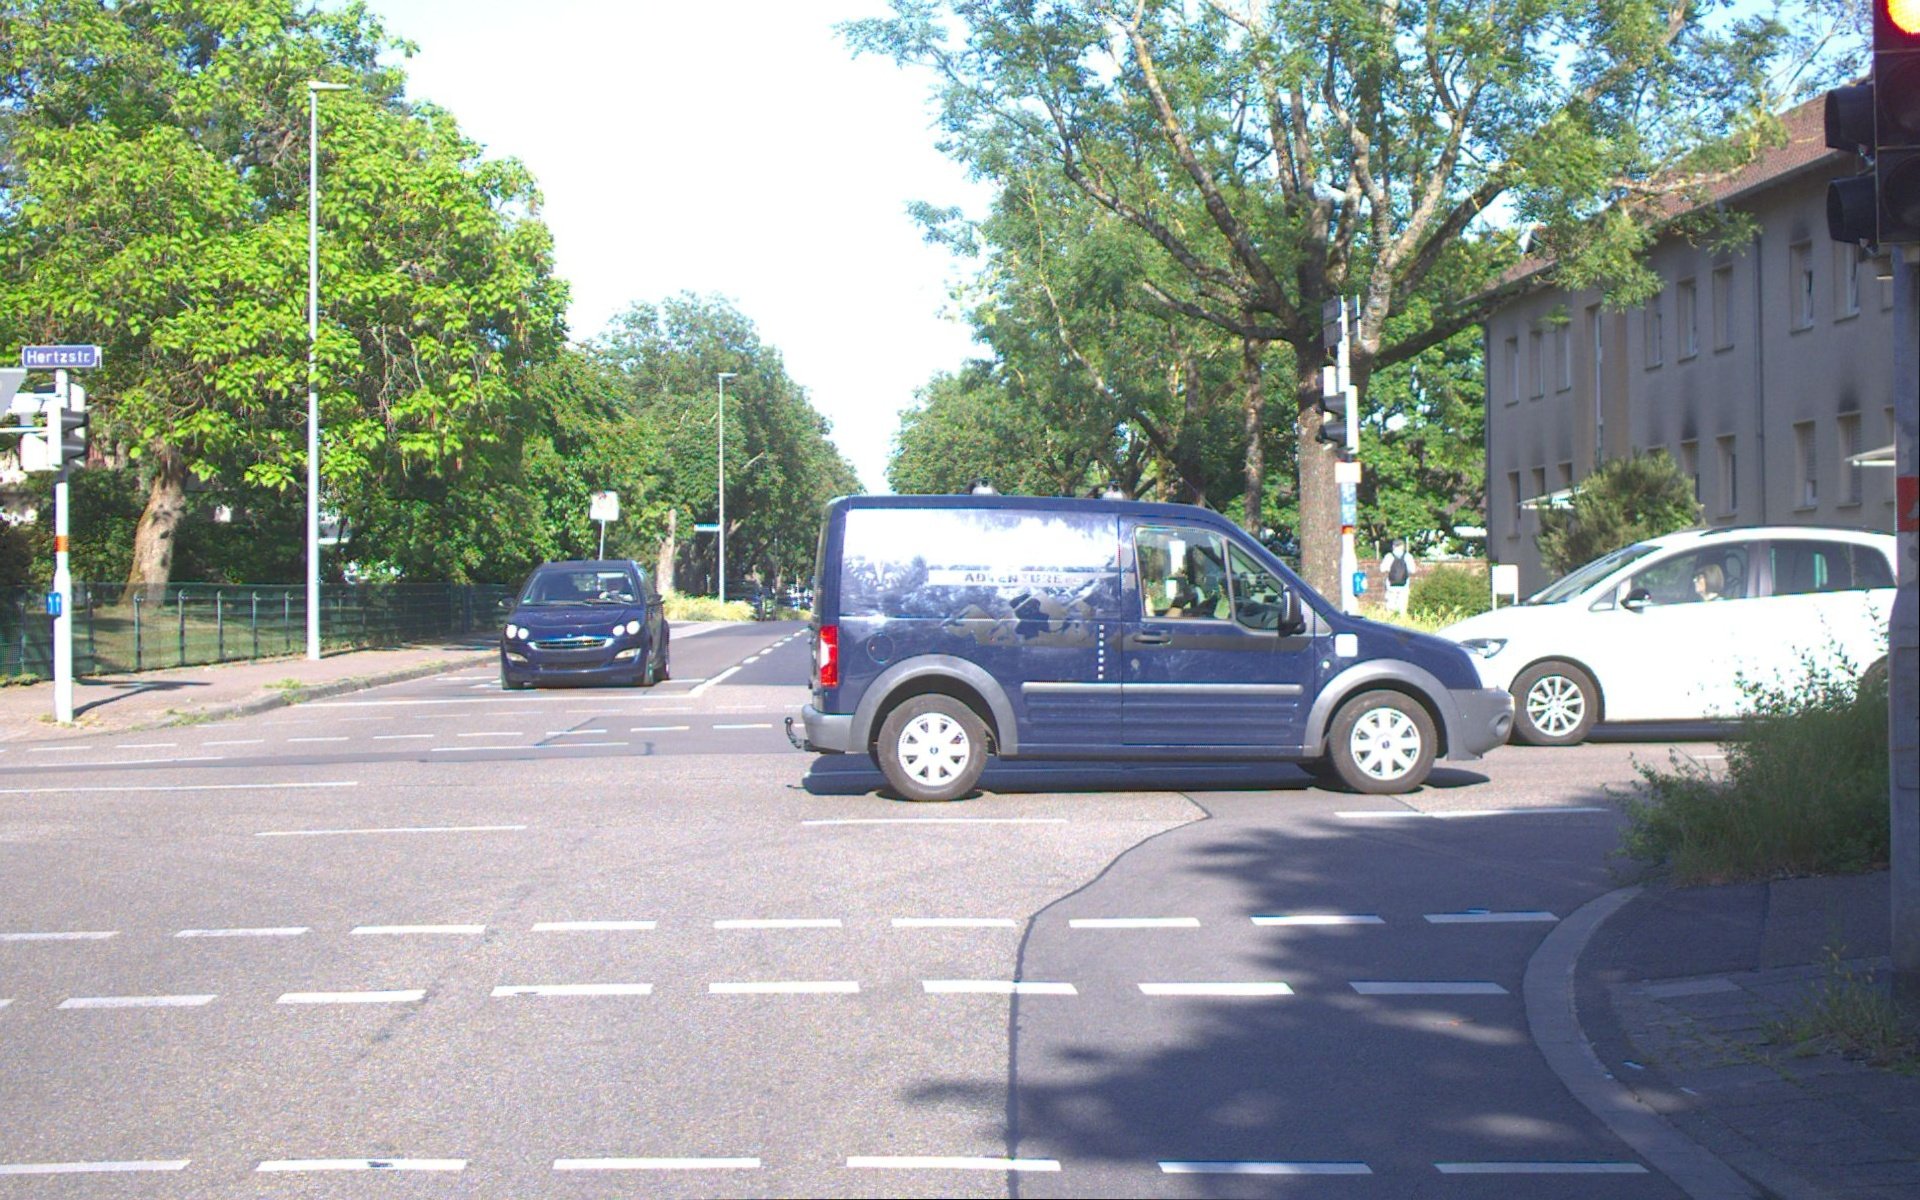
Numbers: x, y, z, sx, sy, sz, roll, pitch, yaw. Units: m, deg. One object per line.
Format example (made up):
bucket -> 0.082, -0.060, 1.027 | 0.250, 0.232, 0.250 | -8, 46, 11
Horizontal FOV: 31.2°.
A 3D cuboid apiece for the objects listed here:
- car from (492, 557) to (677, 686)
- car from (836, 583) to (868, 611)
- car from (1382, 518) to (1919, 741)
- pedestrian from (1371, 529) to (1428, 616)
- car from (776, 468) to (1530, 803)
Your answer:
car -> -4.275, 0.216, 39.527 | 1.711, 1.381, 3.471 | 0, 1, 0
car -> -6.405, -0.177, 203.522 | 1.758, 1.619, 3.268 | 0, 1, 0
car -> 5.329, 0.211, 25.490 | 4.106, 1.558, 1.758 | 1, 0, -3
pedestrian -> 7.737, -0.487, 60.558 | 0.842, 1.488, 0.924 | 2, 1, -1
car -> 1.090, 0.184, 20.908 | 4.344, 1.881, 1.860 | -1, 1, -4
